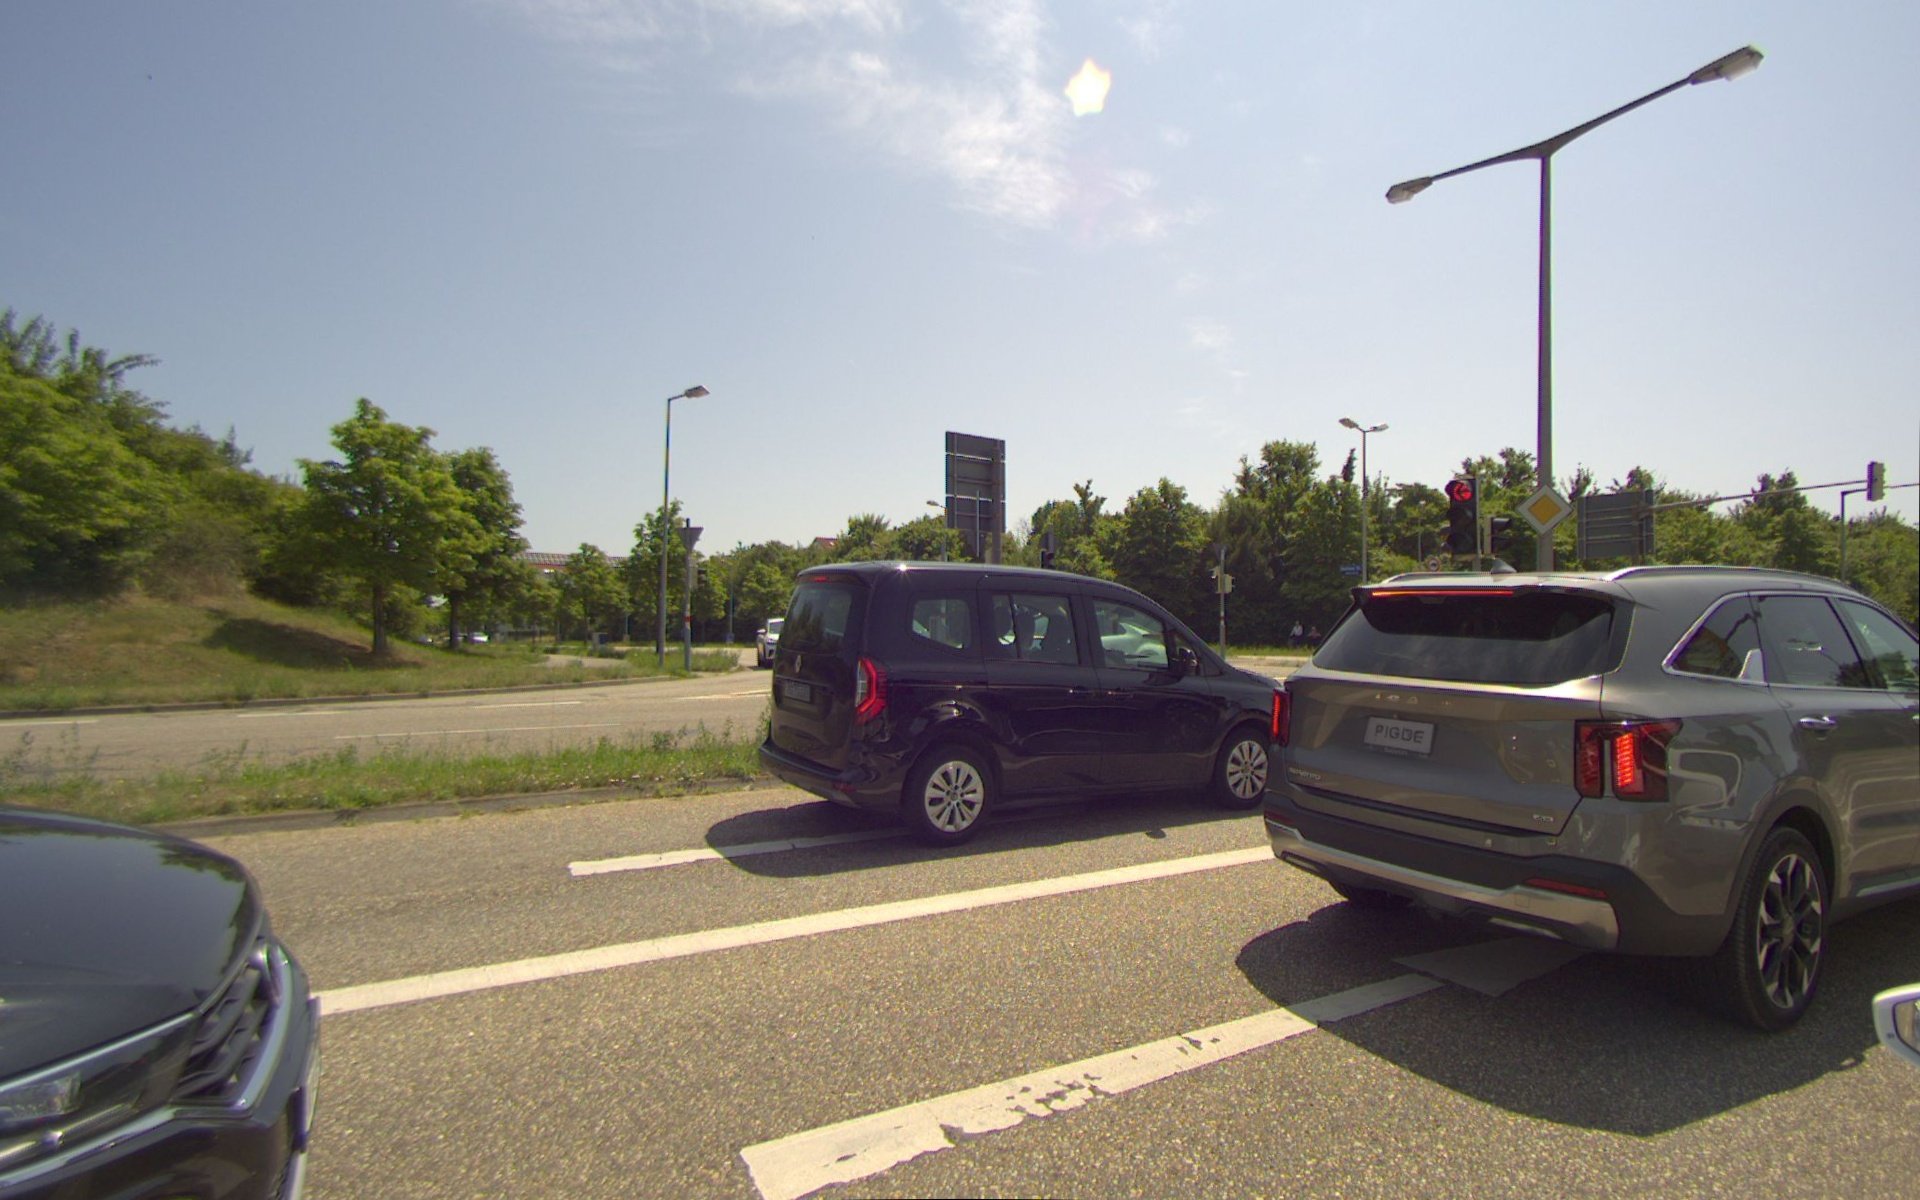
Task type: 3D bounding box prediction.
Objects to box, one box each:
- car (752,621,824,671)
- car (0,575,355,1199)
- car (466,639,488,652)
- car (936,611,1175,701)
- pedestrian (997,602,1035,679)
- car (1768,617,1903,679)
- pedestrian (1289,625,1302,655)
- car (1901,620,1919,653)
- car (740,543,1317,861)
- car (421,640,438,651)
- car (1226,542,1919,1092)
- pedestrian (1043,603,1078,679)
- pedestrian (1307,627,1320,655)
[{"bbox_3d":[-5.741,1.476,33.146,1.849,1.522,4.294,0,-1,-17],"label":"car"},{"bbox_3d":[-3.004,0.678,1.103,3.924,1.532,1.726,2,0,-31],"label":"car"},{"bbox_3d":[-54.905,5.155,114.109,1.617,1.379,3.961,1,-1,-35],"label":"car"},{"bbox_3d":[1.779,0.976,18.388,4.120,1.475,1.814,1,-1,-31],"label":"car"},{"bbox_3d":[1.311,0.945,23.569,0.779,1.759,0.582,1,-1,-11],"label":"pedestrian"},{"bbox_3d":[25.268,1.350,28.972,4.173,1.685,1.699,1,-1,-30],"label":"car"},{"bbox_3d":[18.592,2.224,55.675,0.606,1.624,0.798,0,-1,24],"label":"pedestrian"},{"bbox_3d":[52.832,1.952,54.150,4.868,1.755,1.814,1,-1,-30],"label":"car"},{"bbox_3d":[0.650,0.640,7.745,4.274,1.850,1.722,1,-1,-32],"label":"car"},{"bbox_3d":[-74.311,6.376,140.602,1.617,1.379,3.961,1,-1,-35],"label":"car"},{"bbox_3d":[3.652,0.729,5.039,4.590,1.684,1.795,1,-1,-31],"label":"car"},{"bbox_3d":[2.348,0.949,23.379,0.759,1.722,0.725,0,-1,10],"label":"pedestrian"},{"bbox_3d":[19.460,2.236,55.223,0.606,1.523,0.798,0,-1,24],"label":"pedestrian"}]
